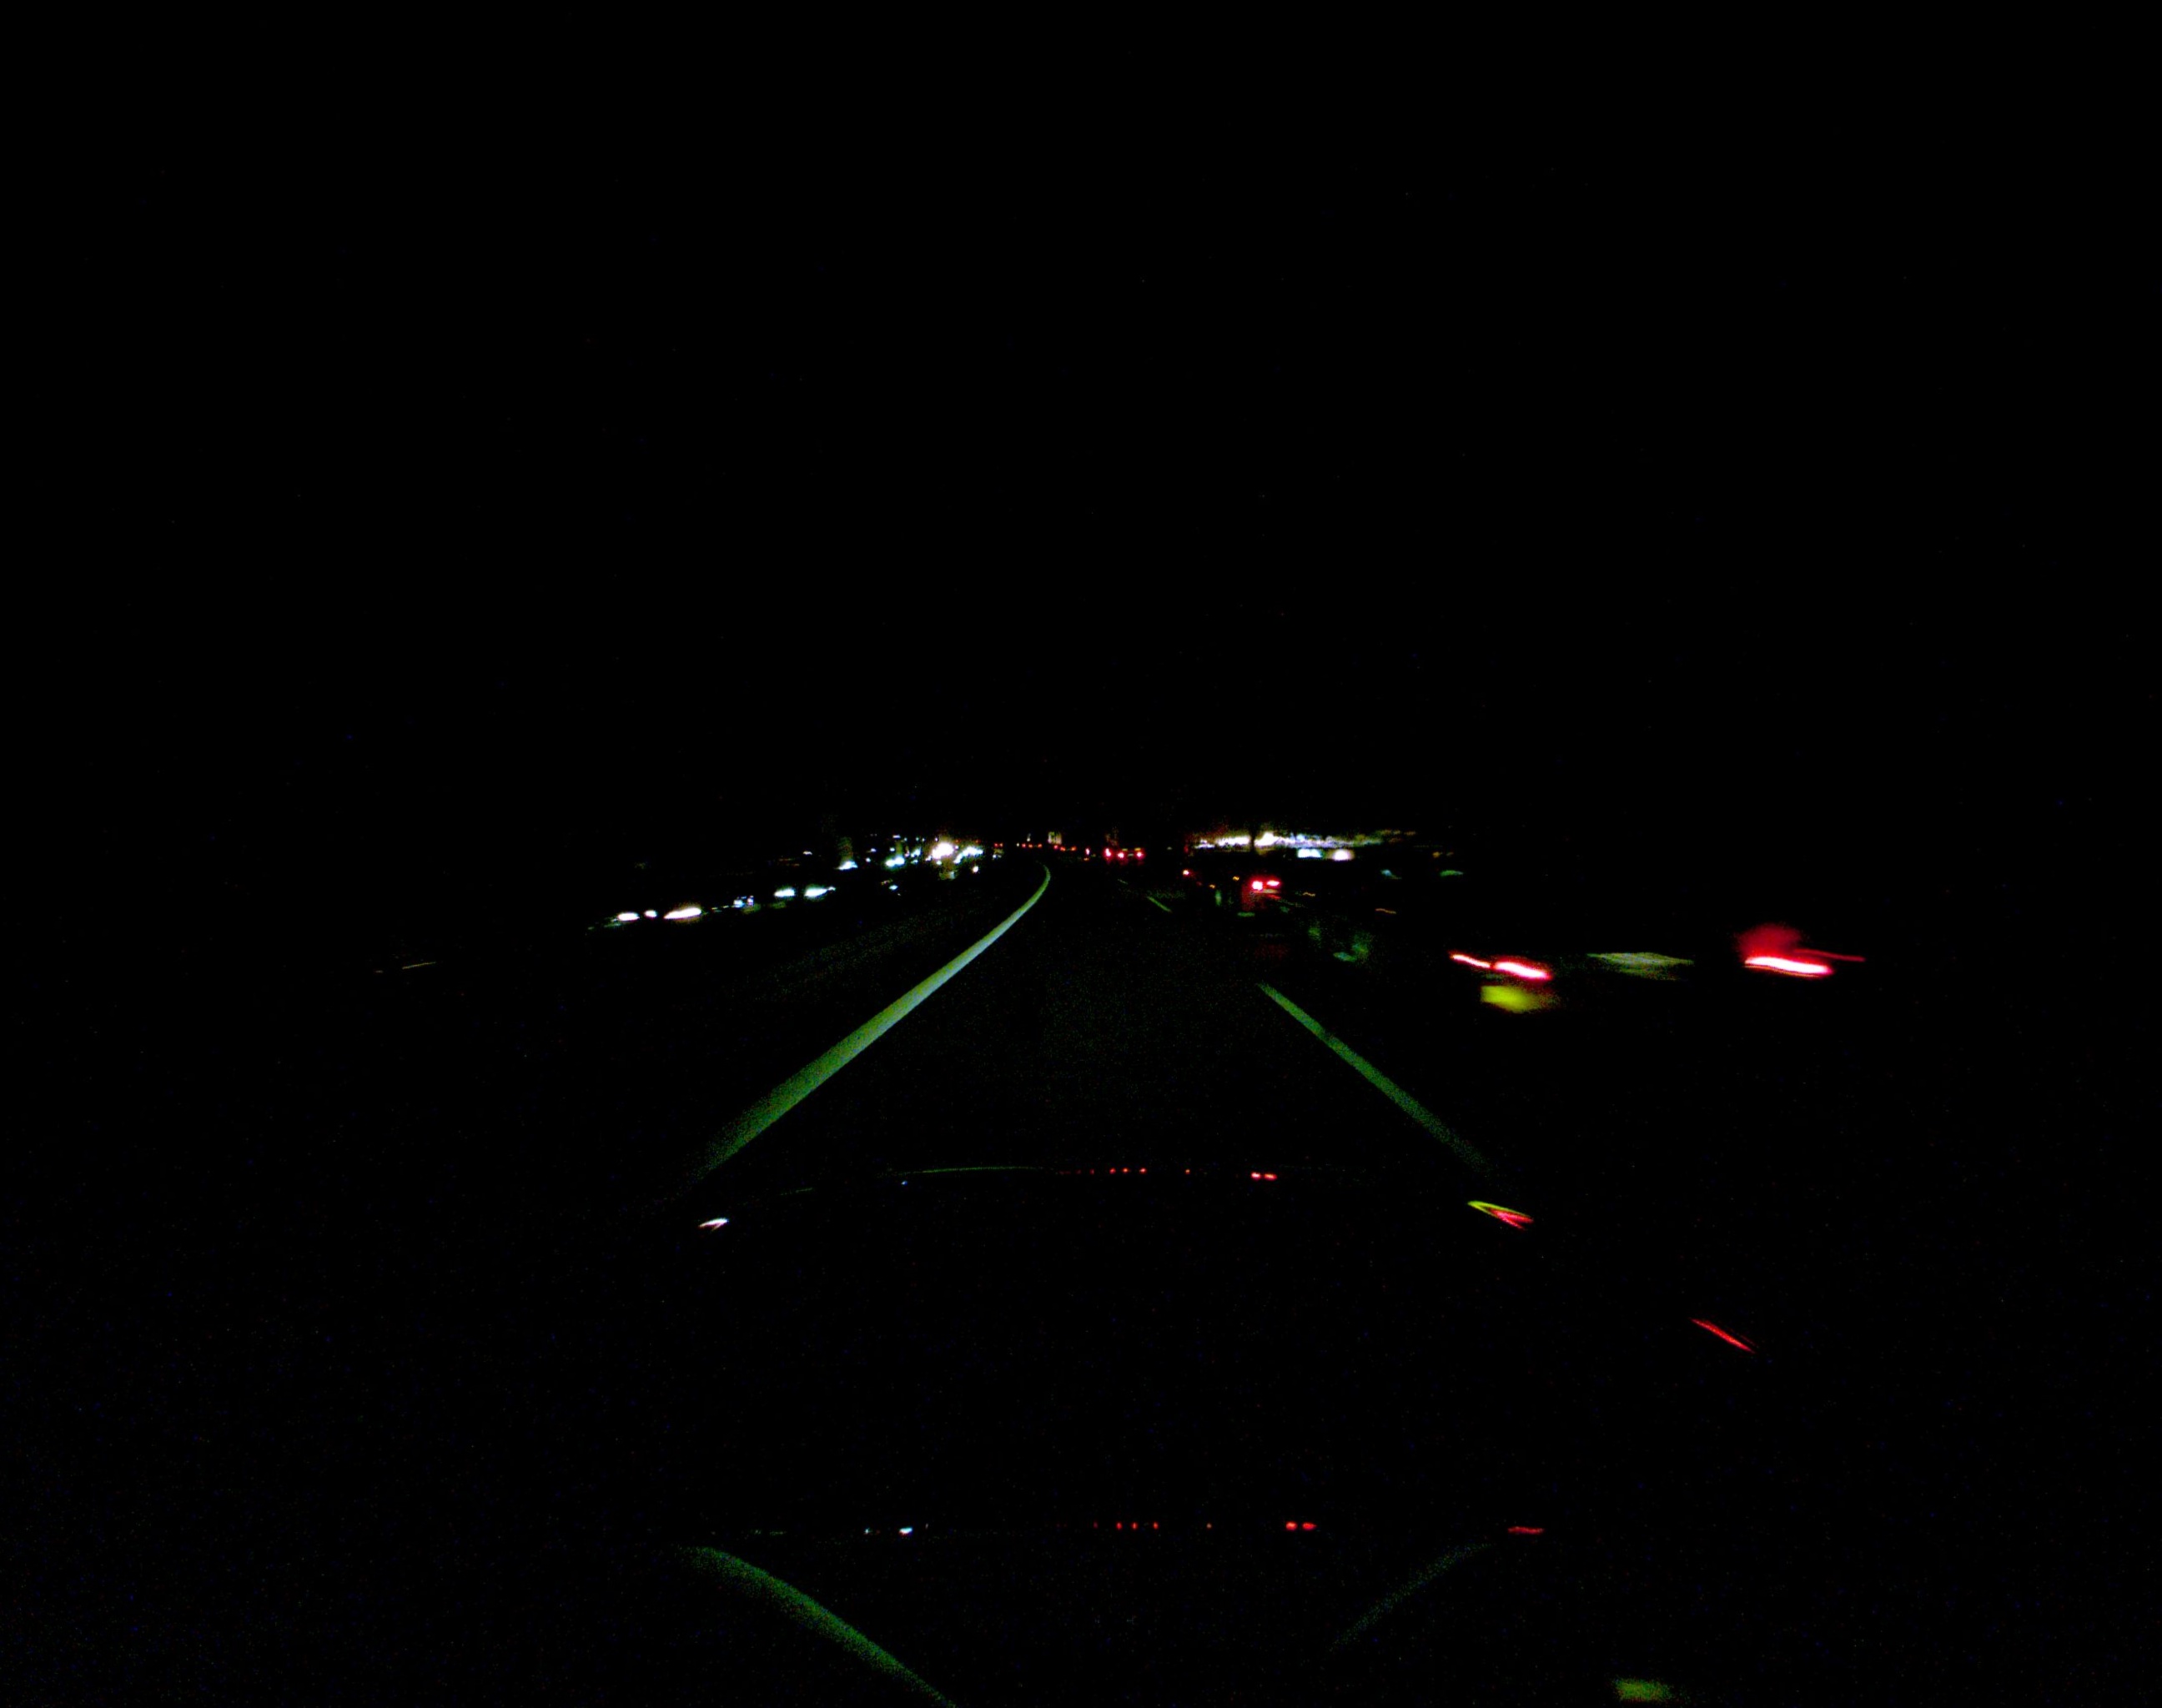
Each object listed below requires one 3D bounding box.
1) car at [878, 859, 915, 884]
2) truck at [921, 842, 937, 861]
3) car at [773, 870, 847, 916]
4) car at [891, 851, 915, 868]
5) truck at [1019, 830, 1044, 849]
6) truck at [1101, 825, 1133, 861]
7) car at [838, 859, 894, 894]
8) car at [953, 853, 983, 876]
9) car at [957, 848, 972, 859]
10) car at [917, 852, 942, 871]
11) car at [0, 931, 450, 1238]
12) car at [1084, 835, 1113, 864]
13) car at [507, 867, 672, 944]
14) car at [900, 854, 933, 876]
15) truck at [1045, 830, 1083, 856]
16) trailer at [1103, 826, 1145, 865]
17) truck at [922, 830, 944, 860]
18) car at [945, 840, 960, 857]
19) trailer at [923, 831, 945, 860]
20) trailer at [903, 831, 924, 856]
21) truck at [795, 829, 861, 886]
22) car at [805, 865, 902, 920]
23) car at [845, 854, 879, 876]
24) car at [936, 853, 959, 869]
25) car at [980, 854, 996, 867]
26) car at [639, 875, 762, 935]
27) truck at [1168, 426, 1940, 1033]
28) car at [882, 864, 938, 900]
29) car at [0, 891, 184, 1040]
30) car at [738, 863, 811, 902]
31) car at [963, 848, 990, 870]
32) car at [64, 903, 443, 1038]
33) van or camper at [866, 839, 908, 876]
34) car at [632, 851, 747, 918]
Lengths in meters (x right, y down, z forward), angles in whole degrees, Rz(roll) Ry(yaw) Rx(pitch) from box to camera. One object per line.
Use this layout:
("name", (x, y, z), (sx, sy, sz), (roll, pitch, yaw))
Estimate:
("car", (-11.527, 1.062, 51.096), (1.530, 1.335, 4.216), (-2, 1, -3))
("truck", (-20.171, -0.318, 108.203), (1.994, 2.458, 5.033), (-1, 1, -10))
("car", (-11.634, 1.628, 35.199), (1.732, 1.743, 4.000), (-3, 0, 0))
("car", (-18.558, 0.586, 85.142), (1.925, 1.653, 4.725), (-1, 0, -7))
("truck", (-12.202, -3.509, 198.094), (3.349, 4.475, 13.842), (2, 1, -14))
("truck", (4.269, -1.343, 97.964), (2.857, 4.076, 7.499), (-1, 1, -5))
("car", (-11.428, 1.172, 43.572), (1.989, 1.660, 4.449), (-2, 0, -3))
("car", (-8.179, 0.741, 59.178), (1.676, 1.566, 3.996), (-3, 0, -3))
("car", (-17.098, -0.061, 119.278), (1.901, 1.492, 4.859), (-1, 1, -5))
("car", (-13.044, 0.661, 70.231), (1.637, 1.539, 3.994), (-2, 0, -4))
("car", (-7.790, 1.674, 6.580), (1.749, 1.545, 4.712), (-2, 1, -2))
("car", (1.709, -0.396, 76.963), (2.326, 2.640, 5.254), (0, -1, 5))
("car", (-14.744, 1.442, 24.857), (1.988, 1.959, 4.985), (-3, 0, -1))
("car", (-12.097, 0.790, 59.999), (1.636, 1.483, 4.359), (-2, 0, -2))
("truck", (-3.555, -2.038, 158.778), (3.916, 4.627, 20.943), (-2, 1, -10))
("trailer", (4.747, -1.085, 92.591), (2.850, 4.067, 13.182), (-1, 1, -5))
("truck", (-21.629, -1.275, 119.271), (2.865, 4.210, 6.086), (-1, 1, -10))
("car", (-15.273, -0.639, 96.957), (1.675, 1.850, 4.101), (2, -1, -8))
("trailer", (-23.086, -1.407, 128.279), (2.875, 4.183, 14.480), (-1, 1, -9))
("trailer", (-29.527, -1.876, 143.862), (2.840, 4.171, 13.241), (-3, 1, -10))
("truck", (-16.105, 0.229, 52.377), (2.372, 3.260, 7.709), (-2, 0, -5))
("car", (-6.820, 1.107, 24.929), (1.749, 1.354, 4.632), (-2, 1, -2))
("car", (-16.270, 0.809, 60.670), (1.638, 1.539, 4.430), (-2, 0, -5))
("car", (-12.841, 0.674, 78.759), (1.694, 1.463, 3.480), (-1, 1, -2))
("car", (-9.206, 0.641, 81.093), (1.415, 1.256, 3.124), (-1, 1, -4))
("car", (-11.259, 1.443, 24.421), (1.600, 1.479, 4.076), (-3, 0, 2))
("truck", (4.209, -0.748, 14.897), (3.470, 4.135, 18.708), (0, -1, 1))
("car", (-7.316, 1.152, 35.205), (1.751, 1.354, 4.285), (-2, 0, -4))
("car", (-15.323, 1.556, 10.763), (1.834, 1.923, 4.563), (-3, -1, 0))
("car", (-15.121, 1.358, 40.431), (1.854, 1.700, 4.394), (-3, 0, 1))
("car", (-8.905, 0.409, 69.518), (1.802, 1.740, 4.864), (-2, 0, -2))
("car", (-11.999, 1.586, 12.250), (1.743, 1.453, 3.840), (-3, -1, 0))
("van or camper", (-16.563, 0.215, 69.835), (2.217, 3.003, 7.116), (-1, 1, -3))
("car", (-14.794, 1.075, 31.107), (2.125, 2.267, 4.562), (-2, 0, -1))
